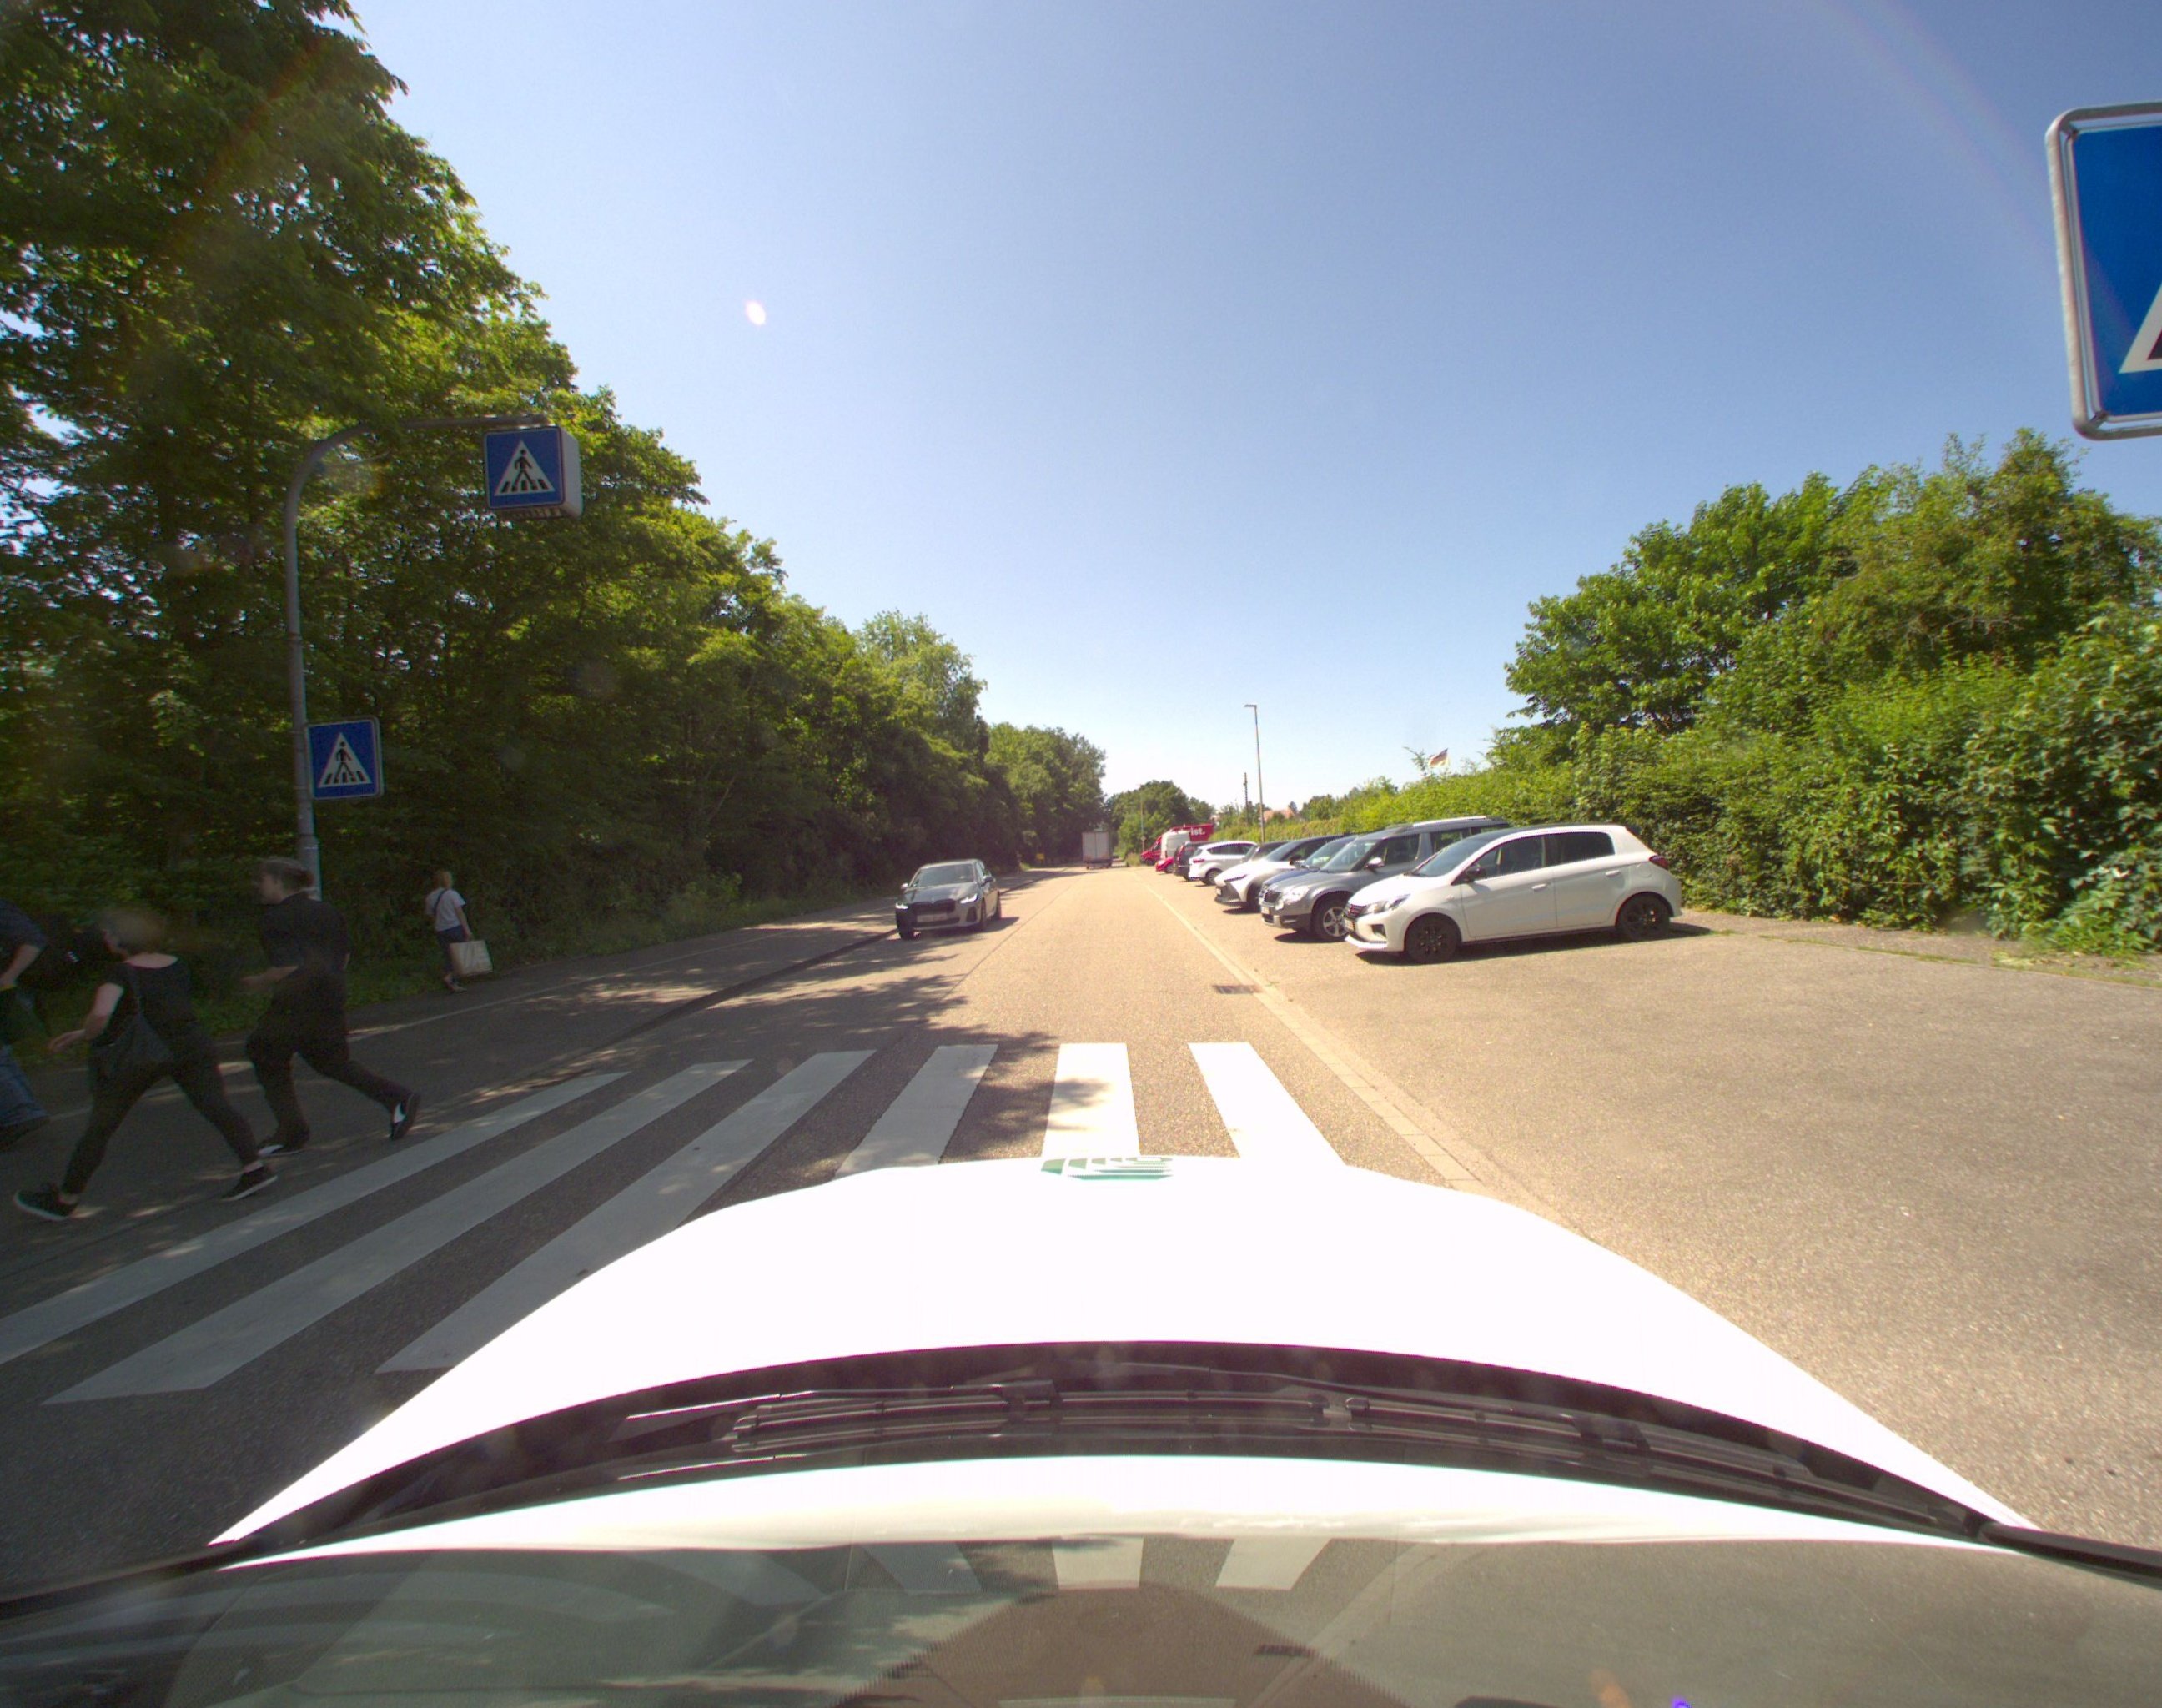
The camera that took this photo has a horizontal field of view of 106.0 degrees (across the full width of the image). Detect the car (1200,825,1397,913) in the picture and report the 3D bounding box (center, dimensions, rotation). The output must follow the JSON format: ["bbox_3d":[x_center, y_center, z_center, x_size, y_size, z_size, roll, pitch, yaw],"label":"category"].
[{"bbox_3d":[5.004,0.329,19.073,3.956,1.522,1.861,-6,0,-5],"label":"car"}]

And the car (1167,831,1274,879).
[{"bbox_3d":[6.393,0.045,37.723,4.443,1.804,1.950,-5,-1,-3],"label":"car"}]

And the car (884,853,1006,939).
[{"bbox_3d":[-2.956,0.854,18.610,1.885,1.532,4.196,-6,0,0],"label":"car"}]

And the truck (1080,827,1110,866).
[{"bbox_3d":[1.627,-0.738,86.467,2.722,3.745,13.253,-2,0,3],"label":"truck"}]

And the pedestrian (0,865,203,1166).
[{"bbox_3d":[-6.896,0.966,5.322,1.152,1.751,1.022,1,0,-2],"label":"pedestrian"}]

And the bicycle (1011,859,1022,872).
[{"bbox_3d":[-5.509,0.965,70.042,0.558,1.027,1.842,-3,0,6],"label":"bicycle"}]

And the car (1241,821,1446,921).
[{"bbox_3d":[5.136,0.314,16.203,3.446,1.527,1.537,-6,0,-4],"label":"car"}]

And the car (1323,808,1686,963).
[{"bbox_3d":[5.187,0.371,10.374,3.672,1.450,1.612,-6,0,5],"label":"car"}]

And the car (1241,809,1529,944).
[{"bbox_3d":[4.842,0.335,13.276,3.953,1.640,1.661,-6,0,-4],"label":"car"}]

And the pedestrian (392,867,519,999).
[{"bbox_3d":[-8.186,1.006,10.706,0.929,1.612,0.885,-2,0,0],"label":"pedestrian"}]

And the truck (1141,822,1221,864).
[{"bbox_3d":[9.244,-0.995,75.123,7.091,3.440,2.337,-3,1,11],"label":"truck"}]

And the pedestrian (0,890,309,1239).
[{"bbox_3d":[-4.987,1.037,4.353,0.892,1.611,0.779,-4,-1,-7],"label":"pedestrian"}]

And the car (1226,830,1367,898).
[{"bbox_3d":[5.756,0.260,22.060,3.372,1.503,1.590,-5,1,4],"label":"car"}]

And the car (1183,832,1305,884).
[{"bbox_3d":[6.231,0.138,31.510,4.263,1.578,1.765,-5,0,-1],"label":"car"}]

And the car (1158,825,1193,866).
[{"bbox_3d":[7.001,-0.621,60.977,1.946,2.733,7.172,-5,0,3],"label":"car"}]

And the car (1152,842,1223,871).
[{"bbox_3d":[6.592,0.161,50.591,4.043,1.434,1.835,-5,0,-2],"label":"car"}]

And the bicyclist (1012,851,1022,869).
[{"bbox_3d":[-5.528,0.517,70.107,0.645,1.565,0.838,-3,0,6],"label":"bicyclist"}]

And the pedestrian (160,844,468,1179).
[{"bbox_3d":[-4.794,0.918,5.179,1.082,1.864,0.782,-4,-1,-7],"label":"pedestrian"}]
